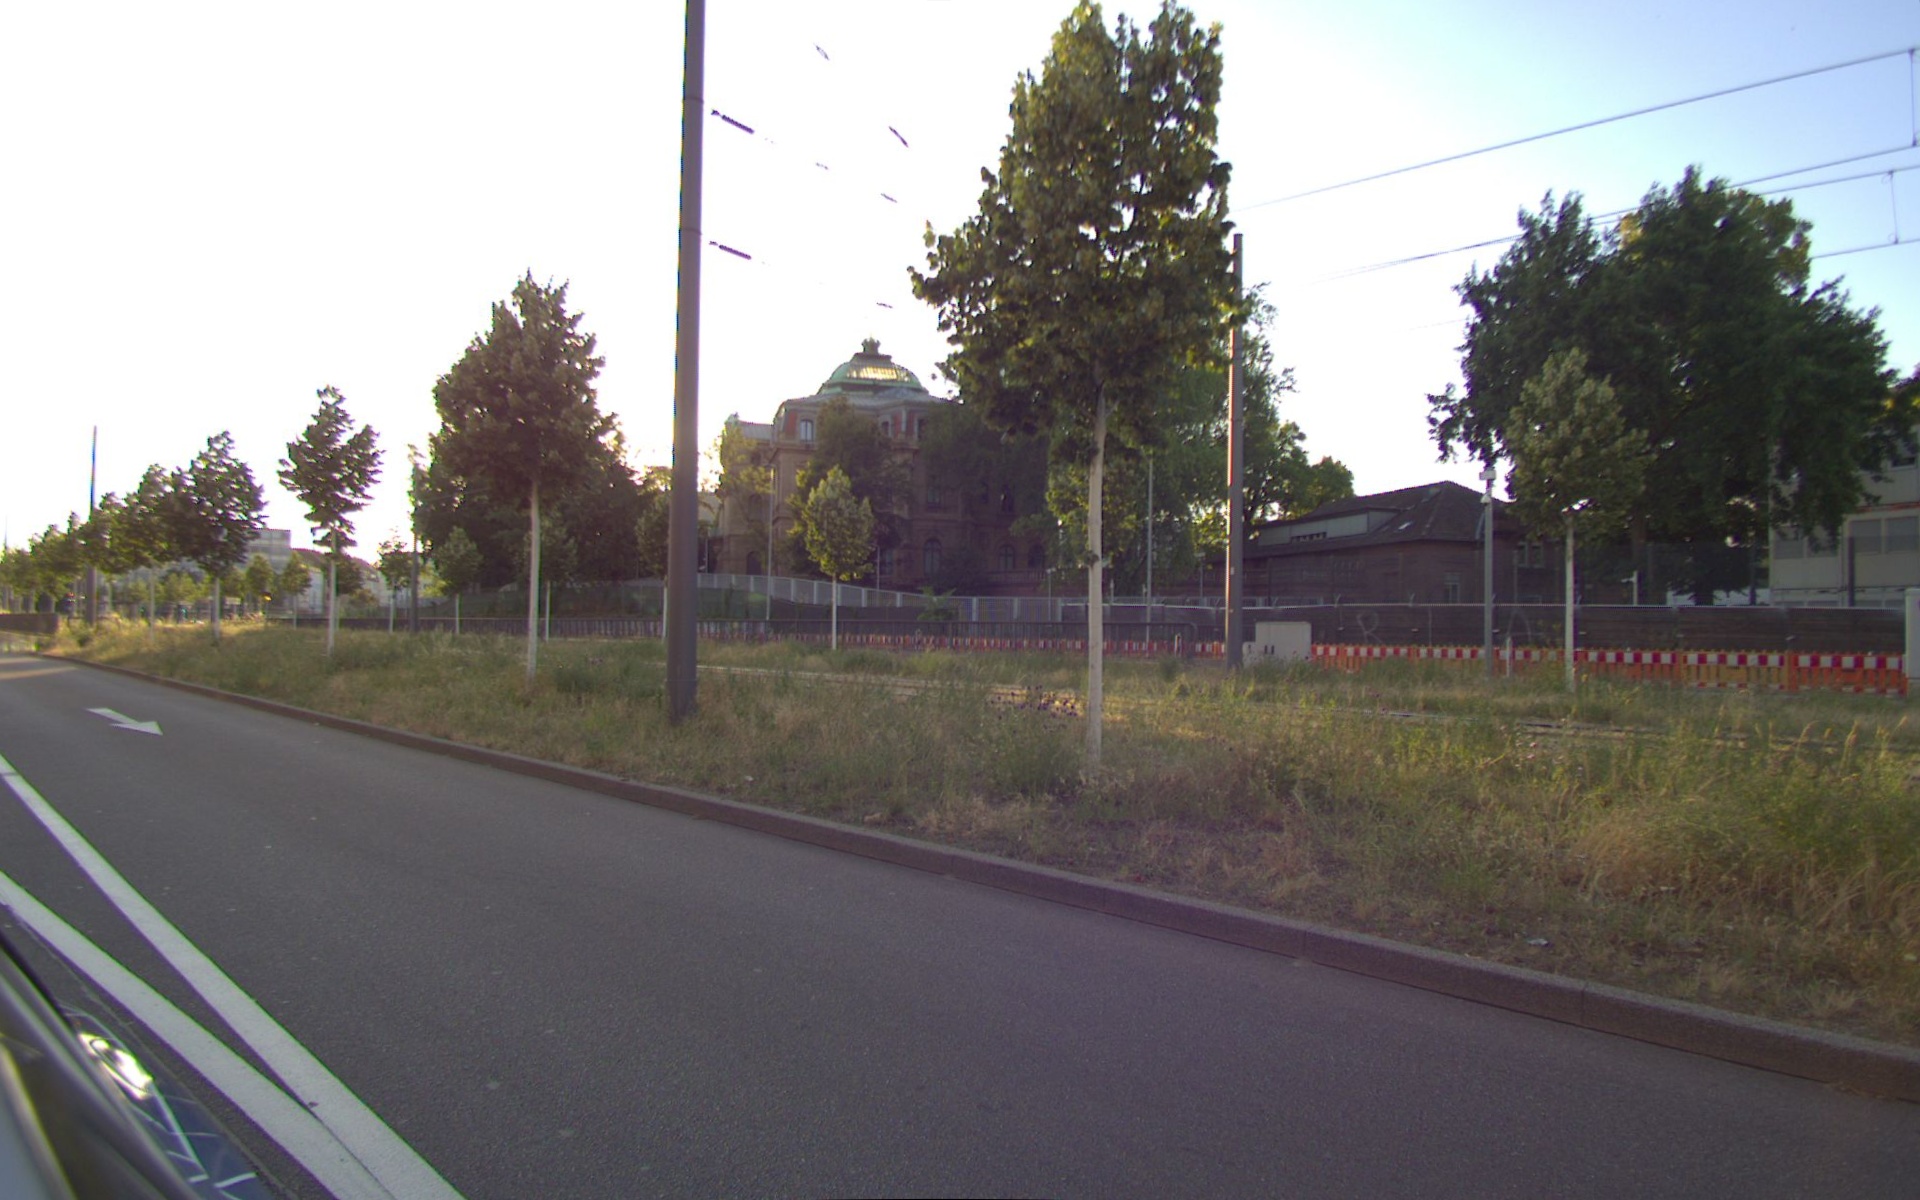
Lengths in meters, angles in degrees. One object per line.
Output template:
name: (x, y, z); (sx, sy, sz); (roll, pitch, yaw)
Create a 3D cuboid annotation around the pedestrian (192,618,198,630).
pedestrian: (-115.406, 3.602, 152.580); (0.637, 1.725, 0.839); (2, -2, -40)
